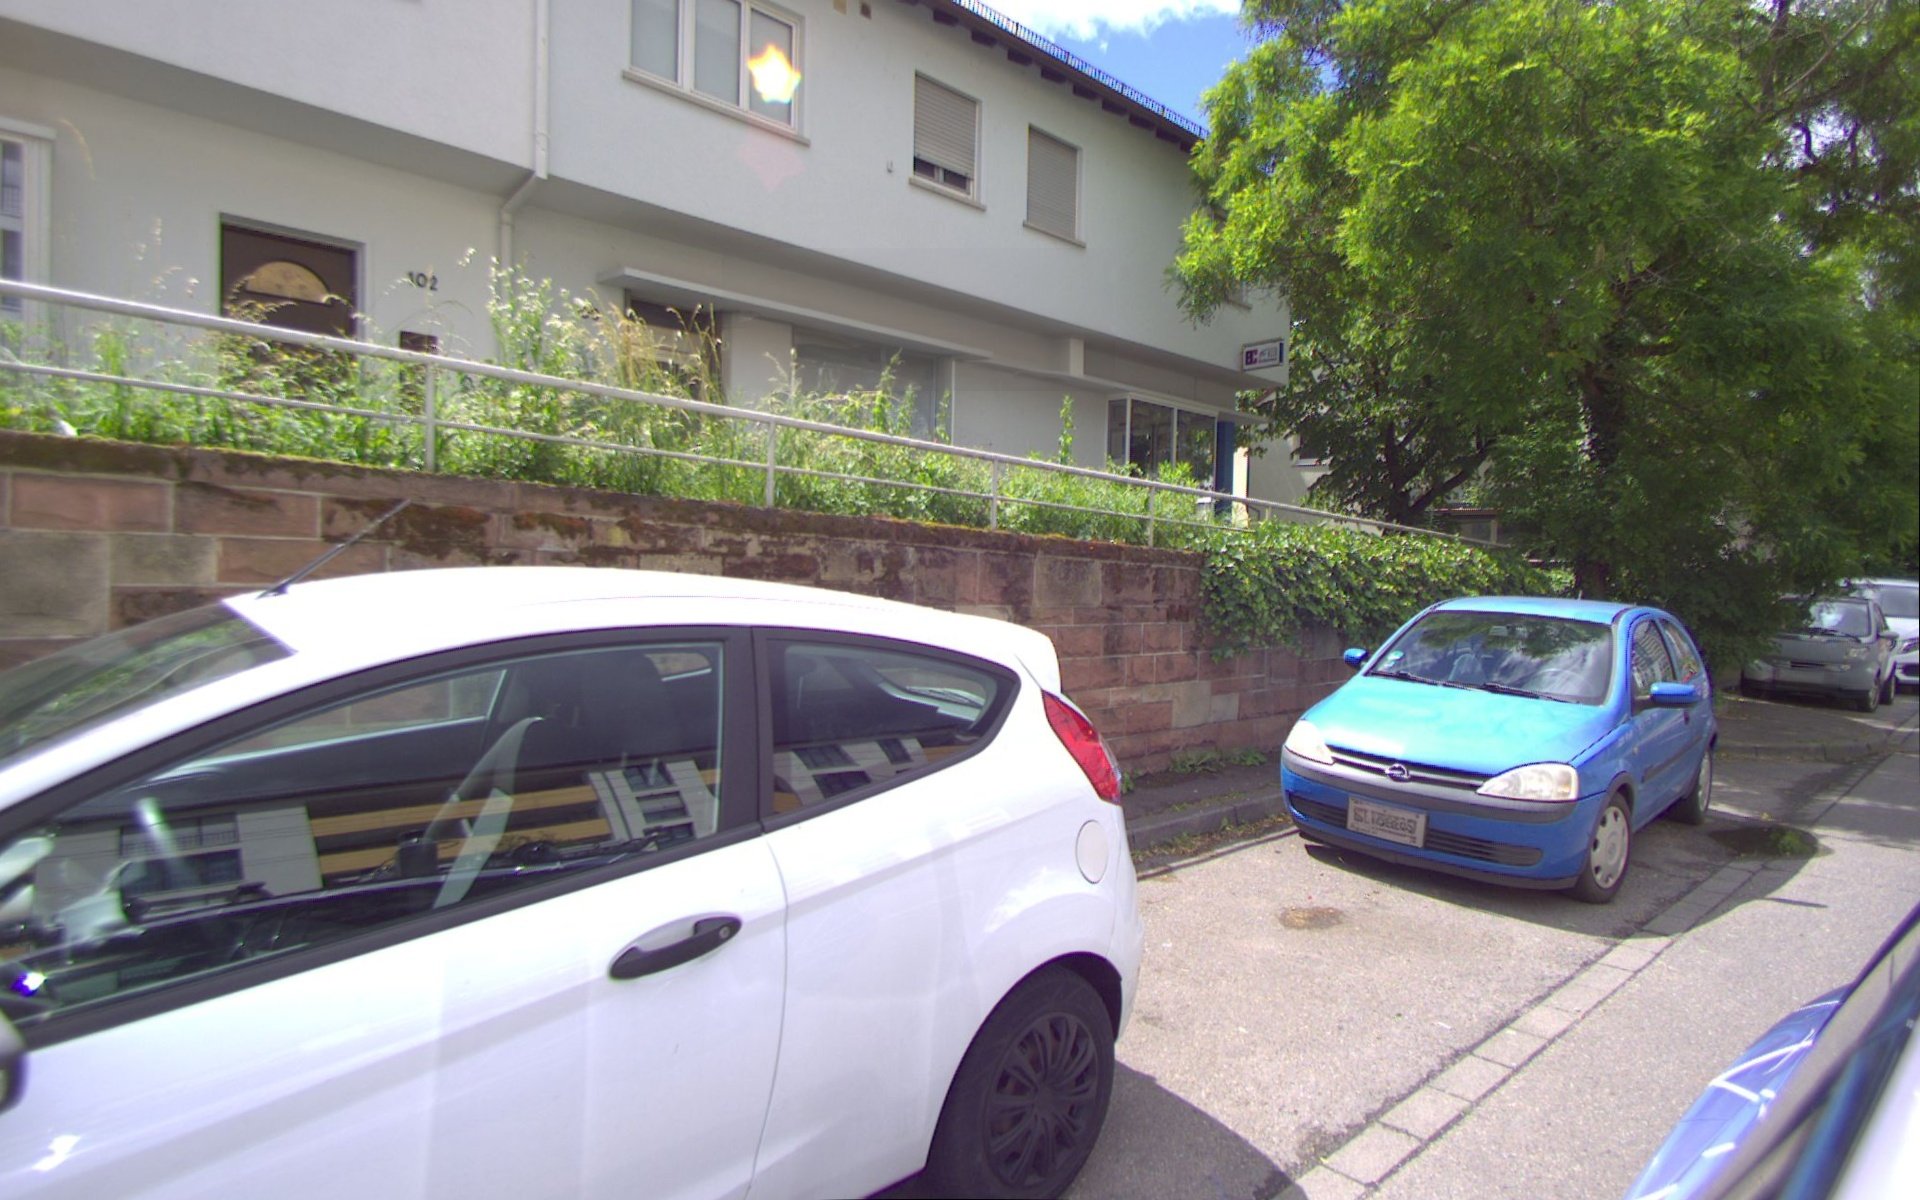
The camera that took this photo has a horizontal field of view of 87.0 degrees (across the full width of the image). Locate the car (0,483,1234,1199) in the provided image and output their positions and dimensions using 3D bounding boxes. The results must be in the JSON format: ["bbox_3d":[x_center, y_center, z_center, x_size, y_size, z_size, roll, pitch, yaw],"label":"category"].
[{"bbox_3d":[-1.225,0.606,2.057,3.756,1.508,1.648,0,1,-42],"label":"car"}]

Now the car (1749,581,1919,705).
[{"bbox_3d":[12.747,0.555,14.715,2.799,1.552,1.515,0,3,-43],"label":"car"}]

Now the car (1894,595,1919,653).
[{"bbox_3d":[26.156,0.635,26.859,4.420,1.460,1.757,0,2,-45],"label":"car"}]

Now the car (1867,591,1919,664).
[{"bbox_3d":[21.304,0.584,22.121,4.267,1.460,1.758,0,3,-43],"label":"car"}]

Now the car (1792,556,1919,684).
[{"bbox_3d":[16.697,0.293,18.241,5.649,1.983,1.917,0,2,-44],"label":"car"}]

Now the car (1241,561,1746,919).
[{"bbox_3d":[3.397,0.577,6.136,3.615,1.474,1.610,0,3,-44],"label":"car"}]
